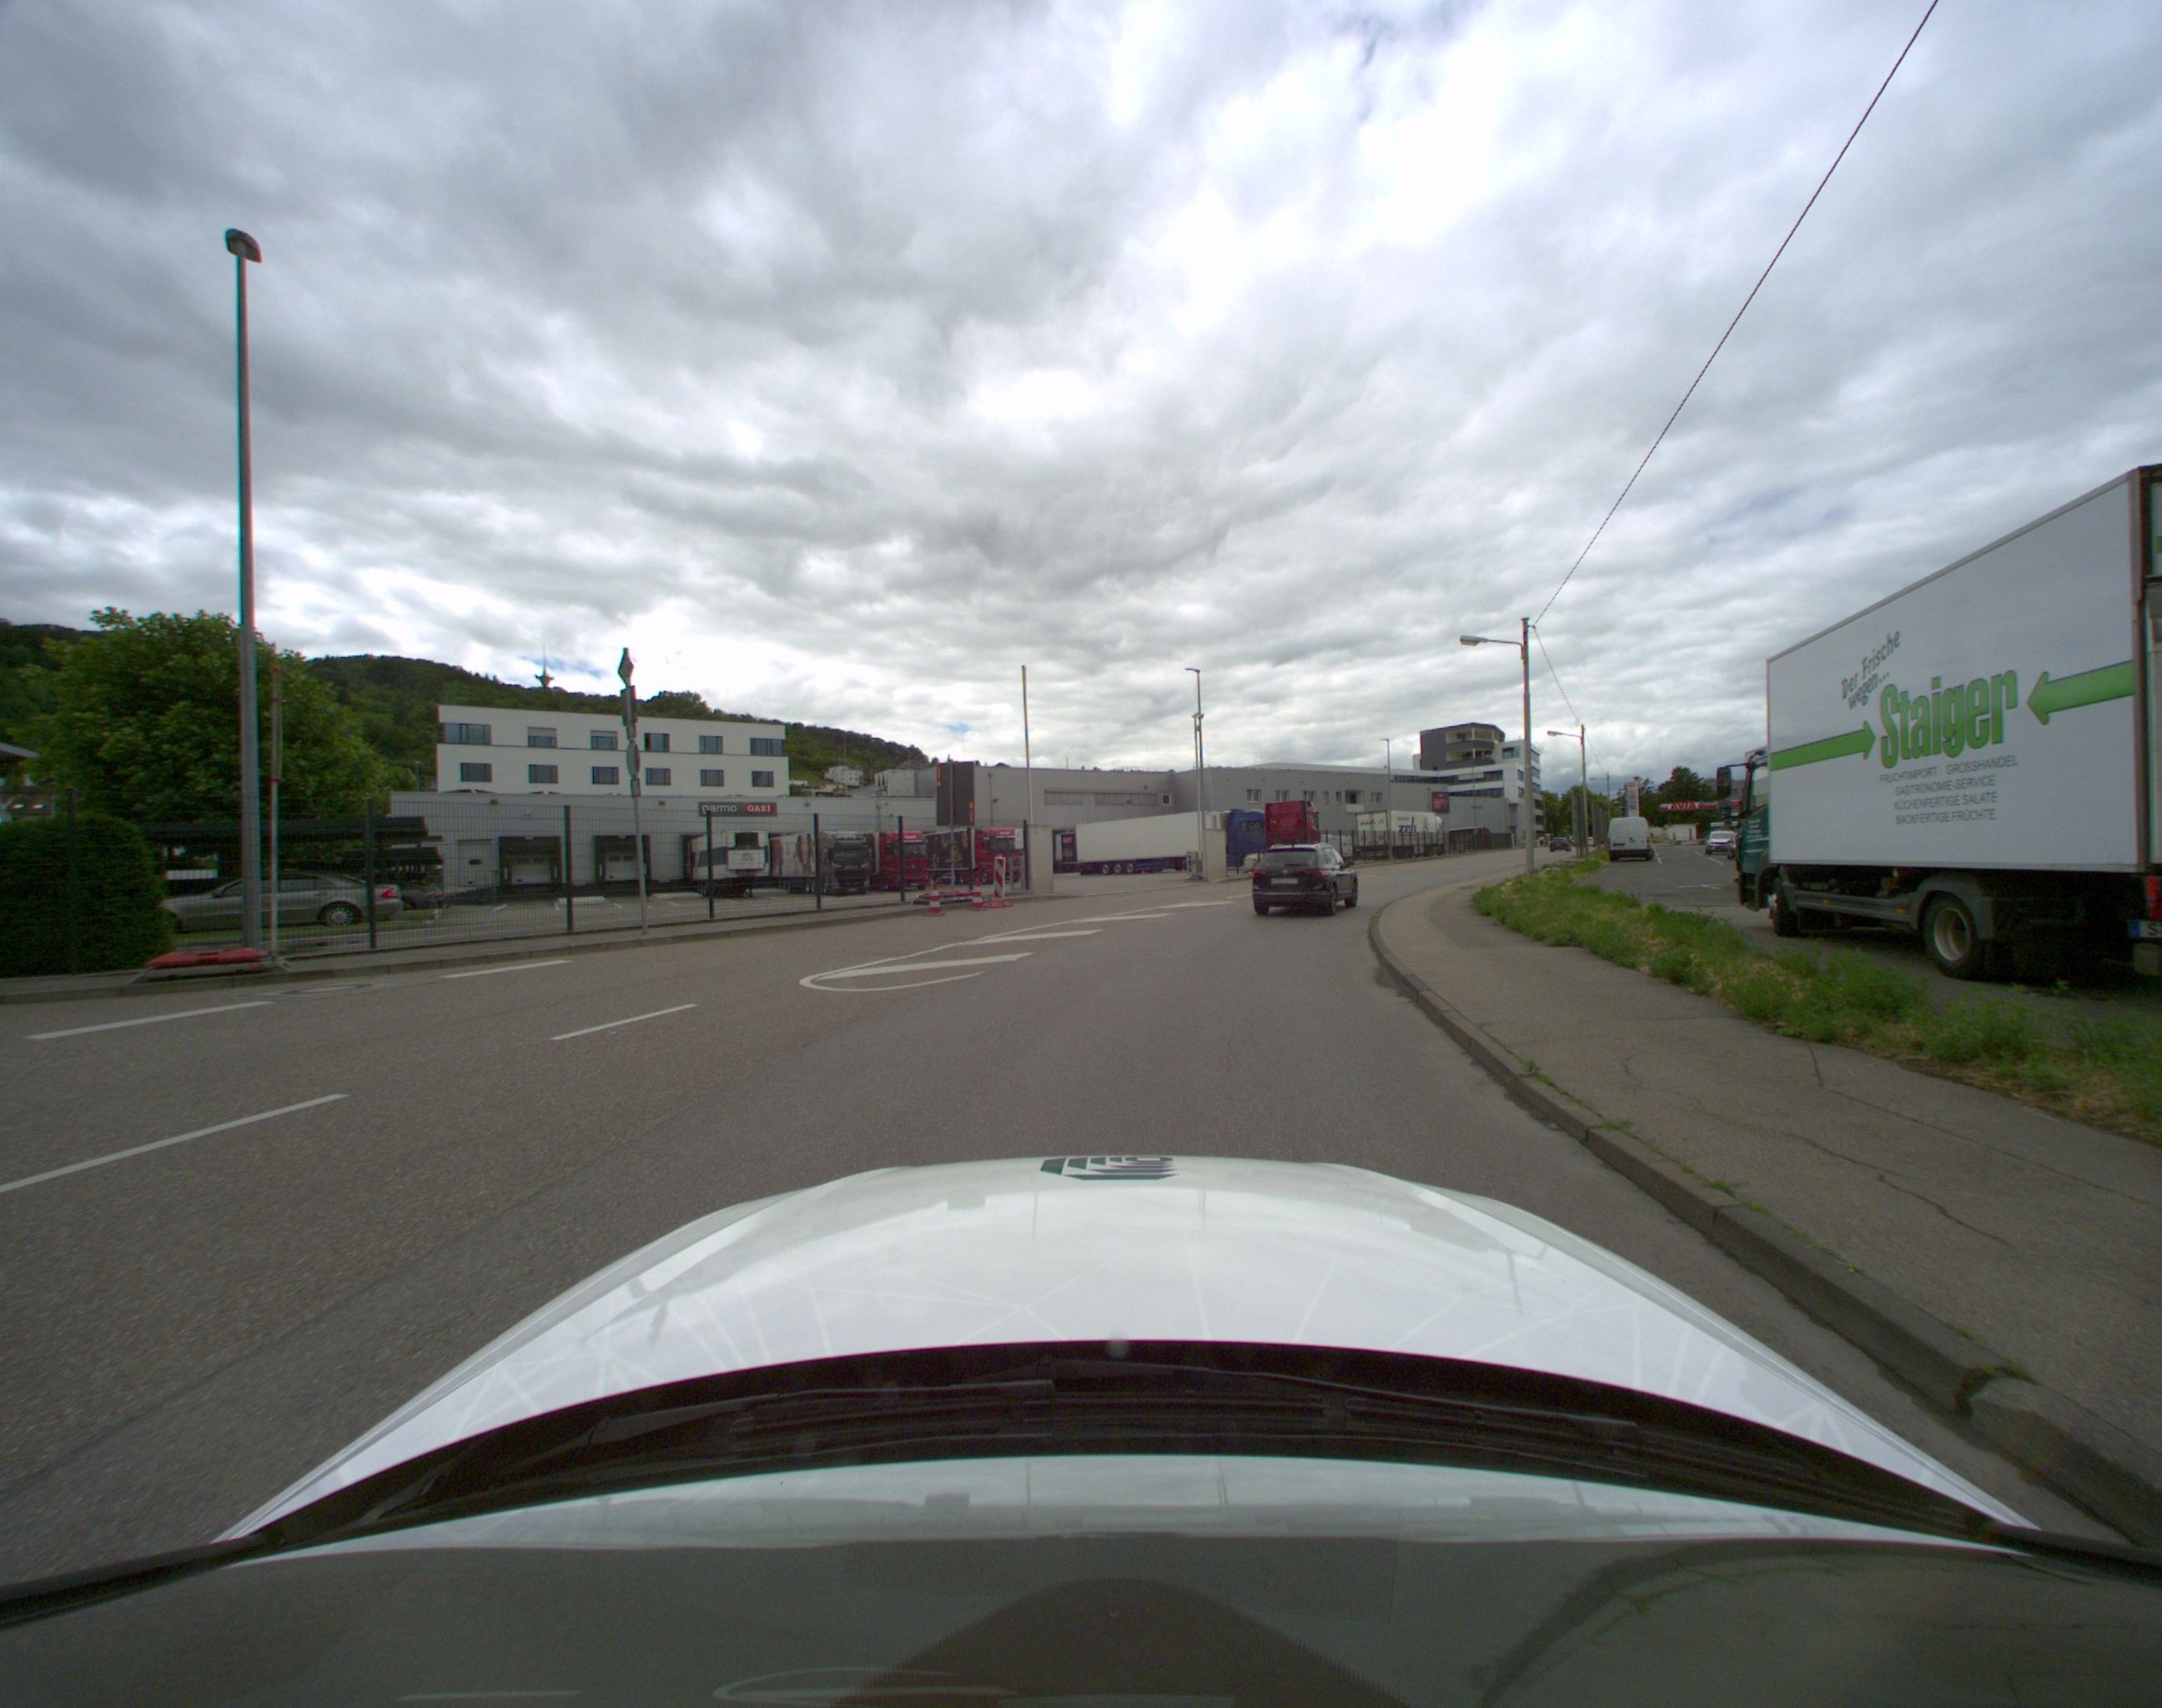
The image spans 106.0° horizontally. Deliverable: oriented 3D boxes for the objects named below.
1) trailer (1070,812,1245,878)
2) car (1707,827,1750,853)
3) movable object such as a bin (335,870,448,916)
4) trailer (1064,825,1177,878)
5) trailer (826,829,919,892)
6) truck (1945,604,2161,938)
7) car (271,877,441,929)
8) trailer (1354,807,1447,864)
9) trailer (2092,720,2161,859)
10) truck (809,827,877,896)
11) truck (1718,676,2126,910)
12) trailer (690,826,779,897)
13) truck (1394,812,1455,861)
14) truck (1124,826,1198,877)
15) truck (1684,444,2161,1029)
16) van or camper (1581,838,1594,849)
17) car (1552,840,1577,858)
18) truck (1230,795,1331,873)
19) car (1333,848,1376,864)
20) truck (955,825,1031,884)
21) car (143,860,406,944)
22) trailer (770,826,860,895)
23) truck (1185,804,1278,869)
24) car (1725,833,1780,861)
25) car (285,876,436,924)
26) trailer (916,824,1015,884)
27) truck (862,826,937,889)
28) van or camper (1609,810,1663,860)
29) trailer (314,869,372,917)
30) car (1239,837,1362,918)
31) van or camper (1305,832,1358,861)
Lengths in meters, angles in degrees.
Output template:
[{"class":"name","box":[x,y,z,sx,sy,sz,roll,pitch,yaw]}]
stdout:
[{"class":"trailer","box":[5.165,-0.465,59.599,13.843,4.184,3.054,-3,-1,45]},{"class":"car","box":[44.526,-0.938,56.102,1.871,1.612,4.457,-3,-1,34]},{"class":"movable object such as a bin","box":[-37.646,2.079,44.614,4.624,2.226,2.056,-2,-1,-40]},{"class":"trailer","box":[3.167,-0.038,71.531,2.794,4.108,12.957,-2,-1,-33]},{"class":"trailer","box":[-15.159,0.597,58.298,2.804,4.078,10.878,-1,-1,-34]},{"class":"truck","box":[12.994,-0.895,7.892,3.036,3.631,8.651,0,0,22]},{"class":"car","box":[-24.950,1.655,28.224,4.270,1.492,1.944,-2,-1,-40]},{"class":"trailer","box":[27.859,-1.538,70.386,3.102,4.261,14.108,-8,-4,38]},{"class":"trailer","box":[31.347,-1.849,18.669,3.031,3.977,13.157,-3,0,15]},{"class":"truck","box":[-14.832,0.500,50.587,2.813,4.040,4.120,-1,-1,-34]},{"class":"truck","box":[17.954,-1.060,18.689,2.952,3.830,10.495,-1,0,25]},{"class":"trailer","box":[-22.646,0.621,52.715,3.104,4.078,11.287,-1,-1,-34]},{"class":"truck","box":[31.943,-1.588,75.554,3.097,4.117,6.986,-8,-4,38]},{"class":"truck","box":[6.428,-0.150,66.398,2.813,3.928,5.864,-2,-1,-33]},{"class":"truck","box":[9.632,-0.778,8.565,3.036,3.631,8.650,-2,-1,22]},{"class":"van or camper","box":[109.802,-2.274,176.524,1.974,2.256,4.026,-3,-1,36]},{"class":"car","box":[52.434,-0.513,88.247,1.974,1.750,4.026,-3,0,35]},{"class":"truck","box":[11.363,-1.064,45.982,2.893,4.020,6.986,-3,-1,37]},{"class":"car","box":[29.490,0.197,87.870,2.008,1.552,3.957,-2,-1,-35]},{"class":"truck","box":[-6.299,0.087,57.675,2.813,3.928,5.862,-1,-1,-34]},{"class":"car","box":[-18.851,1.055,19.381,4.270,1.670,2.049,-2,-1,-40]},{"class":"trailer","box":[-18.540,0.586,56.073,2.804,4.301,11.062,-1,-1,-34]},{"class":"truck","box":[10.240,-1.126,55.211,5.548,4.020,2.947,-2,-1,21]},{"class":"car","box":[36.806,-0.398,44.733,1.871,1.445,4.457,0,0,34]},{"class":"car","box":[-27.755,1.741,31.561,4.270,1.559,1.944,-2,-1,-40]},{"class":"trailer","box":[-8.966,0.157,61.661,2.804,4.078,10.878,-1,-1,-34]},{"class":"truck","box":[-12.079,0.306,53.754,2.813,3.928,5.862,-1,-1,-34]},{"class":"van or camper","box":[32.692,-1.091,47.865,2.233,2.647,6.153,-3,-1,37]},{"class":"trailer","box":[-61.973,3.237,68.475,3.092,3.759,4.878,-1,-1,-37]},{"class":"car","box":[5.431,0.473,19.711,1.975,1.683,4.398,-1,1,27]},{"class":"van or camper","box":[26.081,-0.775,84.953,2.113,2.762,4.933,-2,-1,-35]}]
